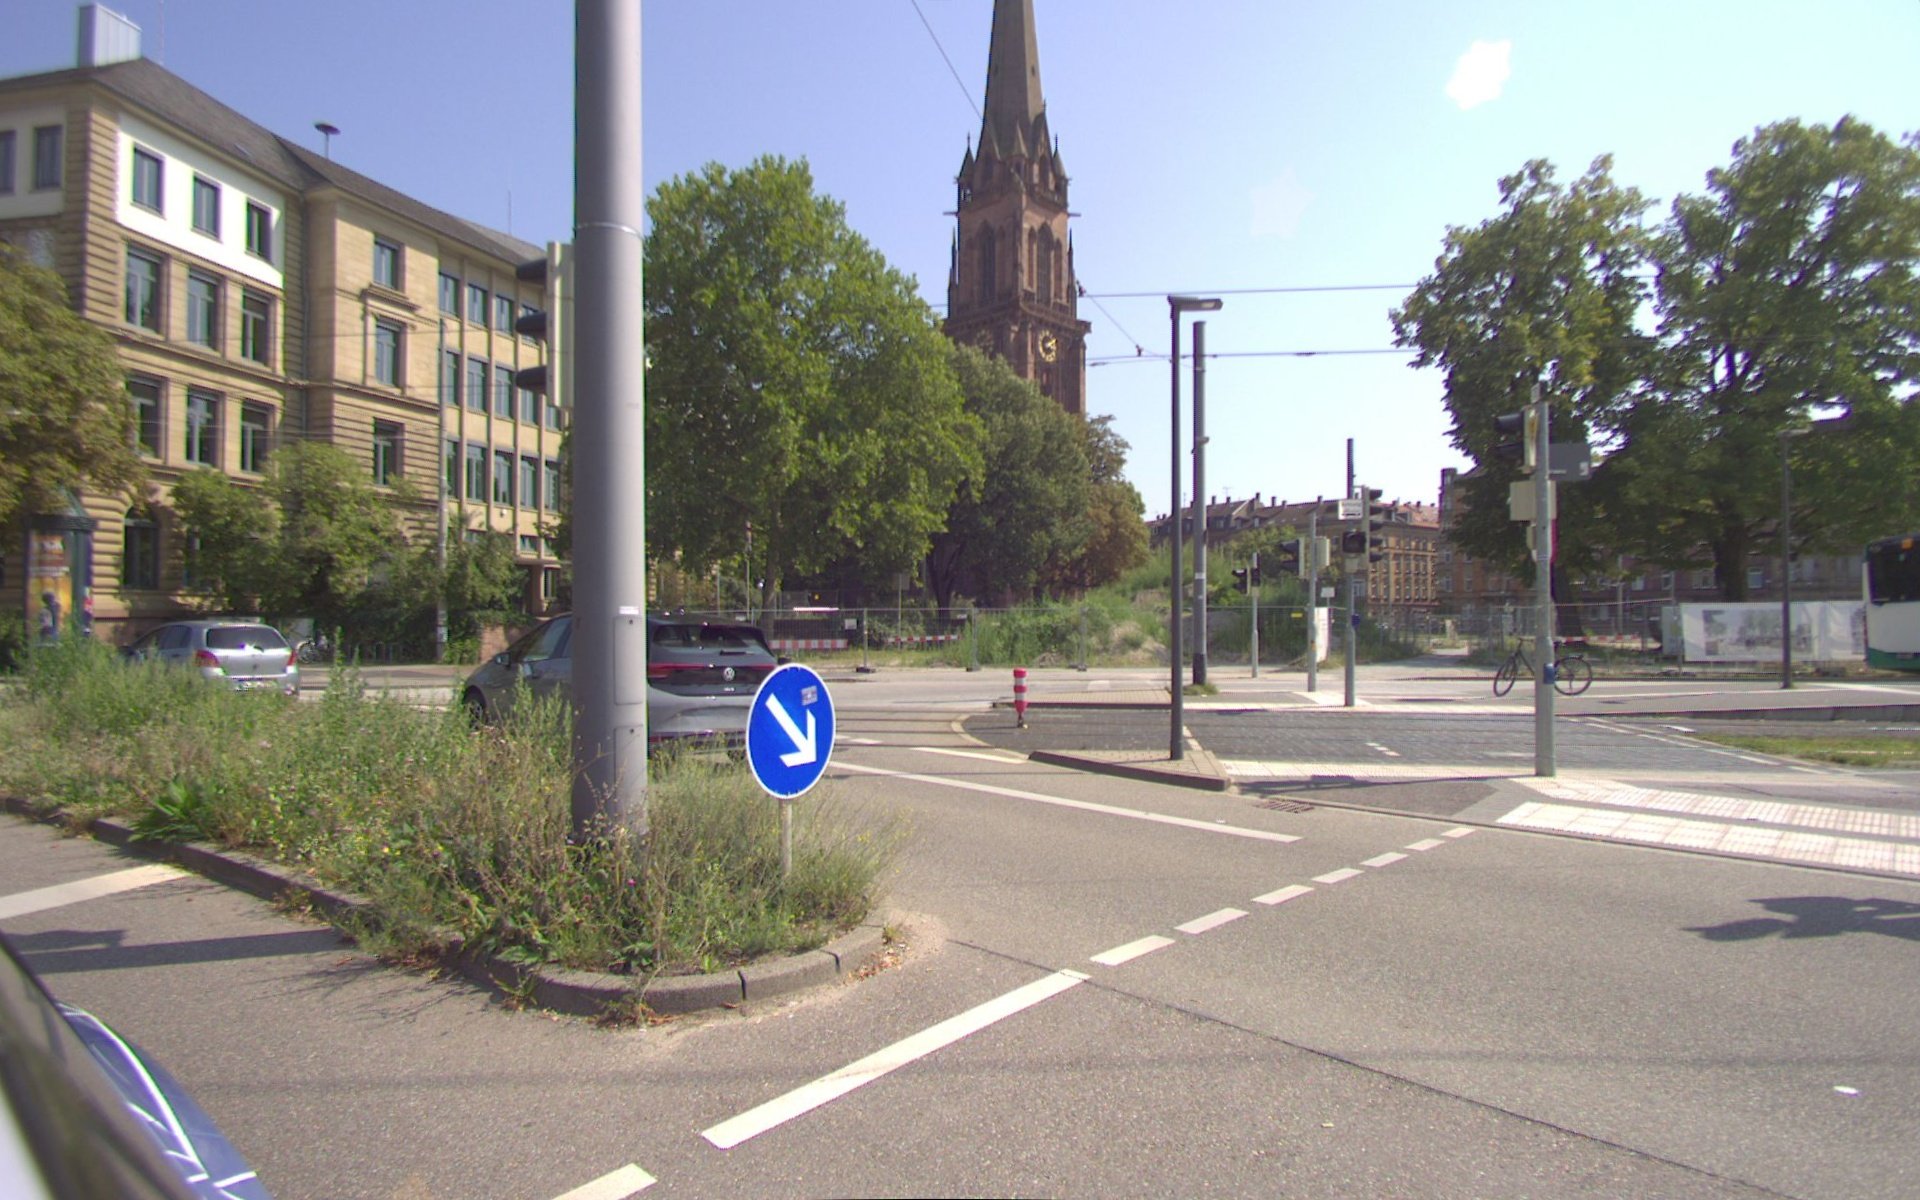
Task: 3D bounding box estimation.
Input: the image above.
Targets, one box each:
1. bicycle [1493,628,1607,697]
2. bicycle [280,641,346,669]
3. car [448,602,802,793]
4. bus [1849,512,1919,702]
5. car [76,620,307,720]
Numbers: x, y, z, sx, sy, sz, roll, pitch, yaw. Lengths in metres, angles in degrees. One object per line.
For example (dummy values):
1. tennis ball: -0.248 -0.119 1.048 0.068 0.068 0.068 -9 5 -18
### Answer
1. bicycle: 10.828 1.141 18.620 1.688 1.232 0.607 -1 -2 13
2. bicycle: -22.117 1.877 34.647 0.740 0.901 2.177 0 -2 5
3. car: -3.541 0.850 10.263 4.184 1.542 1.677 -2 -2 44
4. bus: 24.432 0.119 19.852 10.473 3.803 2.960 0 -1 9
5. car: -13.253 1.130 17.390 4.308 1.542 1.639 -1 -2 30
